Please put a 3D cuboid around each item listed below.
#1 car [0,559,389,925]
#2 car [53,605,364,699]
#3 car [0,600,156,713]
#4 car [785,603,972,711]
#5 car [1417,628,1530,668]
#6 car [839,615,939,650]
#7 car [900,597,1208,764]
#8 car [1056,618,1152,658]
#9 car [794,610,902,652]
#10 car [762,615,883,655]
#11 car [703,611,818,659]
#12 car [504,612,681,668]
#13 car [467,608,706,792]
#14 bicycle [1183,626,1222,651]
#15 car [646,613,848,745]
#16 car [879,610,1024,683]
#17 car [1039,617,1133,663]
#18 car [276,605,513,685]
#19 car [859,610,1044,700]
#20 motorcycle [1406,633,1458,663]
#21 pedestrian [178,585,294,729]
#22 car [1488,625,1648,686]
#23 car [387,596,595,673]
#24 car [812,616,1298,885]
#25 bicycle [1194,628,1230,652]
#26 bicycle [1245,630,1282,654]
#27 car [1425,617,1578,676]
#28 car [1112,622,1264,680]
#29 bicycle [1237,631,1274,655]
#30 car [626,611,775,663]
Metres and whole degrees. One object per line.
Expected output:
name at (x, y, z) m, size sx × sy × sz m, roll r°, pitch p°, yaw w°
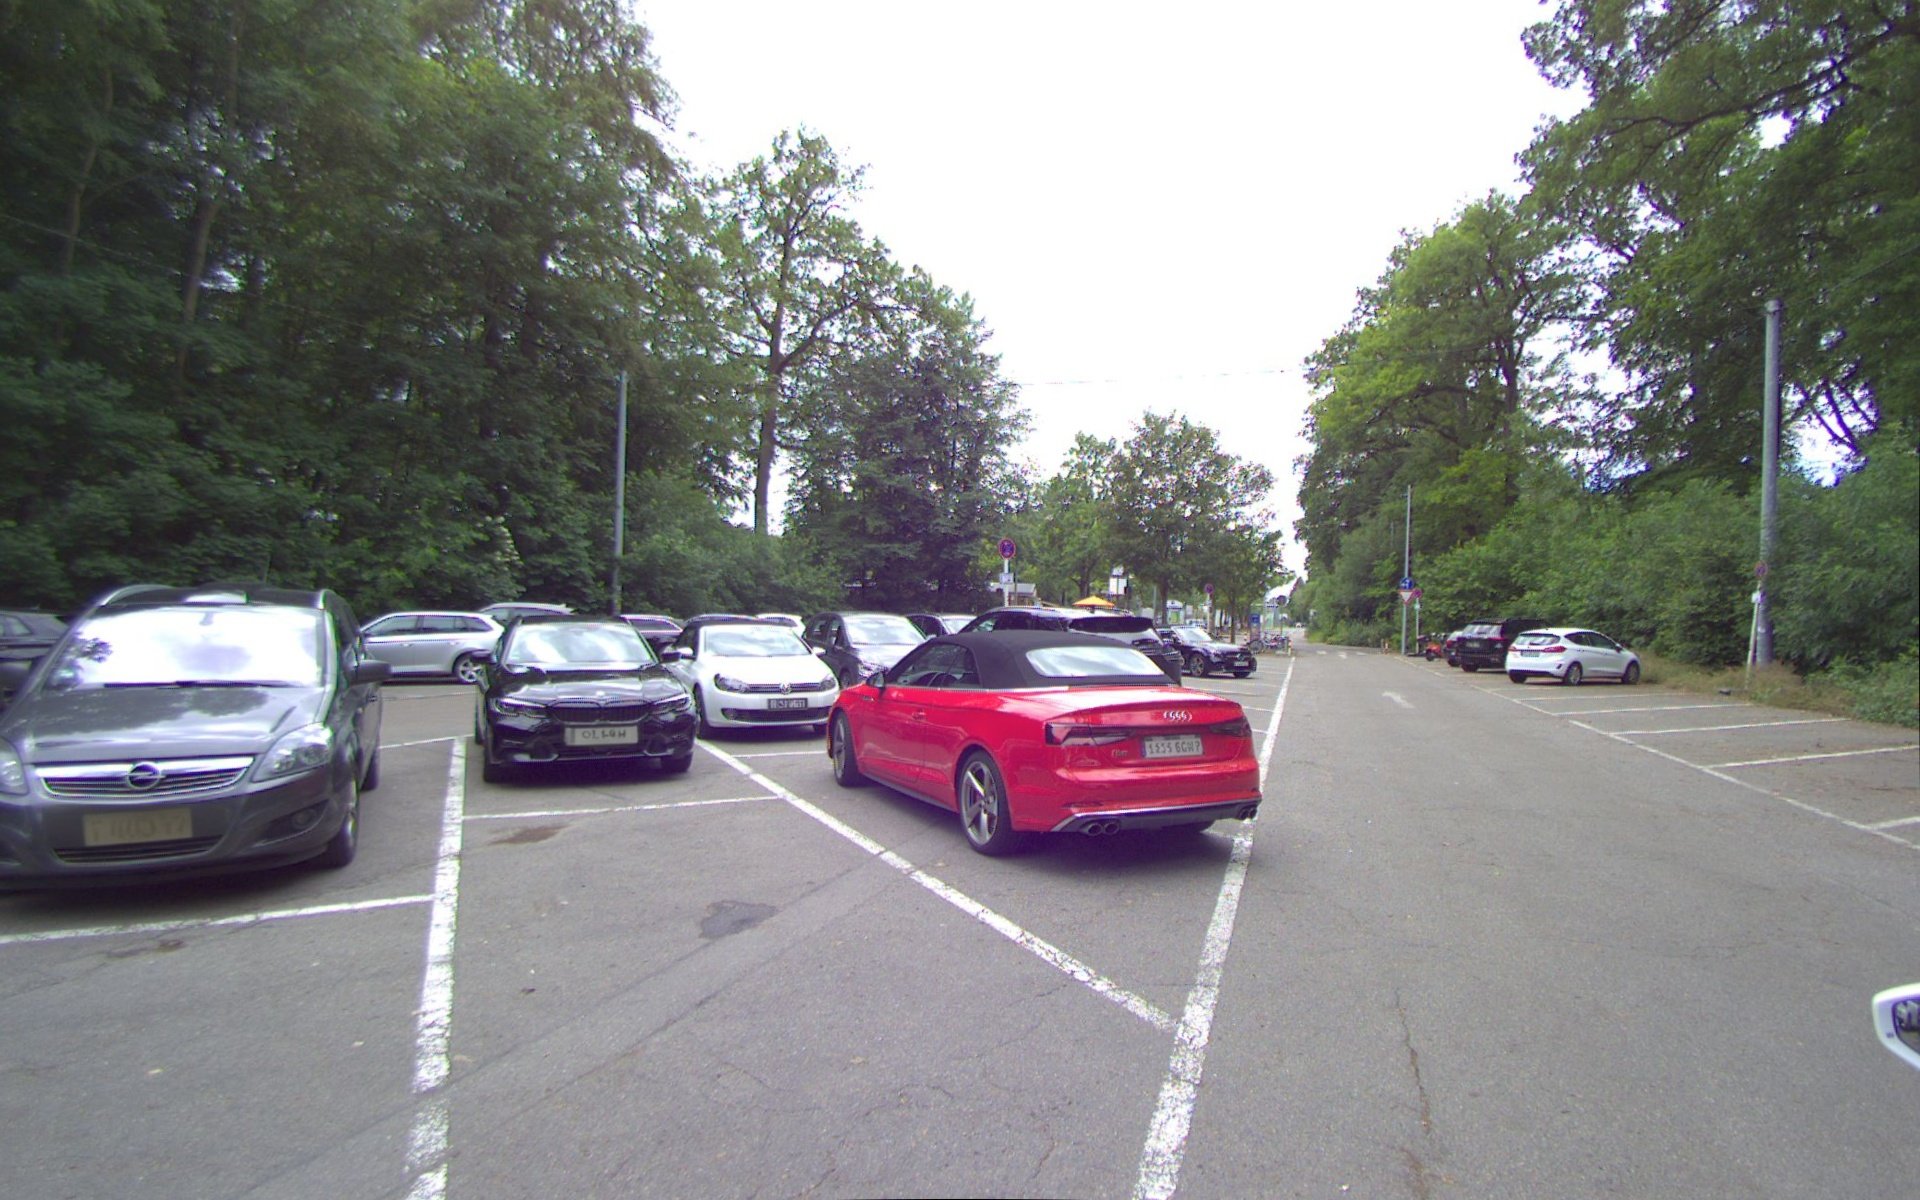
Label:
car at (-4.920, 0.659, 6.606) m, size 1.806 × 1.630 × 4.357 m, roll 2°, pitch -1°, yaw -27°
car at (-12.649, 0.867, 17.263) m, size 3.949 × 1.441 × 1.897 m, roll 2°, pitch -1°, yaw -27°
car at (-13.854, 0.735, 13.685) m, size 4.149 × 1.481 × 1.887 m, roll 2°, pitch -1°, yaw -26°
car at (-1.509, 0.903, 17.098) m, size 1.823 × 1.608 × 3.950 m, roll 2°, pitch -2°, yaw -27°
car at (18.968, 1.765, 37.105) m, size 3.947 × 1.394 × 1.728 m, roll 1°, pitch -1°, yaw -26°
car at (-3.158, 1.443, 44.837) m, size 4.062 × 1.457 × 1.859 m, roll 1°, pitch -1°, yaw -24°
car at (0.955, 0.845, 12.296) m, size 1.875 × 1.685 × 3.971 m, roll 2°, pitch -1°, yaw -28°
car at (5.787, 1.508, 40.716) m, size 1.854 × 1.503 × 3.970 m, roll 1°, pitch -1°, yaw -29°
car at (-4.614, 1.266, 41.438) m, size 4.062 × 1.639 × 1.832 m, roll 1°, pitch -1°, yaw -24°
car at (-5.226, 1.315, 38.195) m, size 4.234 × 1.432 × 1.918 m, roll 1°, pitch -1°, yaw -22°
car at (-6.796, 1.193, 34.240) m, size 3.533 × 1.524 × 1.725 m, roll 2°, pitch -1°, yaw -25°
car at (-9.863, 1.074, 27.006) m, size 4.210 × 1.396 × 1.951 m, roll 2°, pitch -1°, yaw -29°
car at (-4.005, 0.838, 10.304) m, size 1.738 × 1.462 × 4.247 m, roll 2°, pitch -1°, yaw -28°
bicycle at (11.557, 1.843, 47.942) m, size 1.754 × 1.126 × 0.482 m, roll 1°, pitch -1°, yaw 22°
car at (-2.962, 0.923, 13.335) m, size 1.749 × 1.462 × 3.821 m, roll 2°, pitch -1°, yaw -26°
car at (-0.311, 1.099, 24.812) m, size 1.824 × 1.617 × 4.159 m, roll 2°, pitch -1°, yaw -29°
car at (4.641, 1.470, 37.477) m, size 1.666 × 1.606 × 3.626 m, roll 2°, pitch -1°, yaw -29°
car at (-11.334, 0.921, 20.478) m, size 3.942 × 1.486 × 1.826 m, roll 2°, pitch -1°, yaw -22°
car at (-0.278, 1.032, 20.000) m, size 1.853 × 1.575 × 3.964 m, roll 2°, pitch -1°, yaw -33°
motorcycle at (19.586, 1.999, 41.684) m, size 1.996 × 1.224 × 0.728 m, roll 1°, pitch -1°, yaw -16°
pedestrian at (-9.157, 0.701, 12.731) m, size 0.749 × 1.748 × 0.897 m, roll 1°, pitch -1°, yaw 20°
car at (16.391, 1.482, 27.064) m, size 3.947 × 1.530 × 1.857 m, roll 2°, pitch -1°, yaw -26°
car at (-10.876, 0.822, 23.492) m, size 4.207 × 1.658 × 1.952 m, roll 2°, pitch -1°, yaw -27°
car at (0.360, 0.876, 7.821) m, size 1.746 × 1.412 × 4.363 m, roll 2°, pitch -1°, yaw -26°
bicycle at (12.322, 1.947, 49.084) m, size 1.652 × 1.126 × 0.482 m, roll 1°, pitch -1°, yaw 22°
bicycle at (14.930, 2.058, 49.477) m, size 1.666 × 1.126 × 0.482 m, roll 1°, pitch -1°, yaw 27°
car at (17.741, 1.516, 32.891) m, size 4.647 × 1.790 × 2.098 m, roll 2°, pitch -1°, yaw -26°
car at (6.418, 1.420, 28.719) m, size 1.847 × 1.461 × 4.283 m, roll 2°, pitch -1°, yaw -29°
bicycle at (14.292, 2.078, 48.531) m, size 1.653 × 1.126 × 0.505 m, roll 1°, pitch -1°, yaw 25°
car at (-7.955, 1.145, 30.856) m, size 4.132 × 1.477 × 1.793 m, roll 2°, pitch -1°, yaw -26°
